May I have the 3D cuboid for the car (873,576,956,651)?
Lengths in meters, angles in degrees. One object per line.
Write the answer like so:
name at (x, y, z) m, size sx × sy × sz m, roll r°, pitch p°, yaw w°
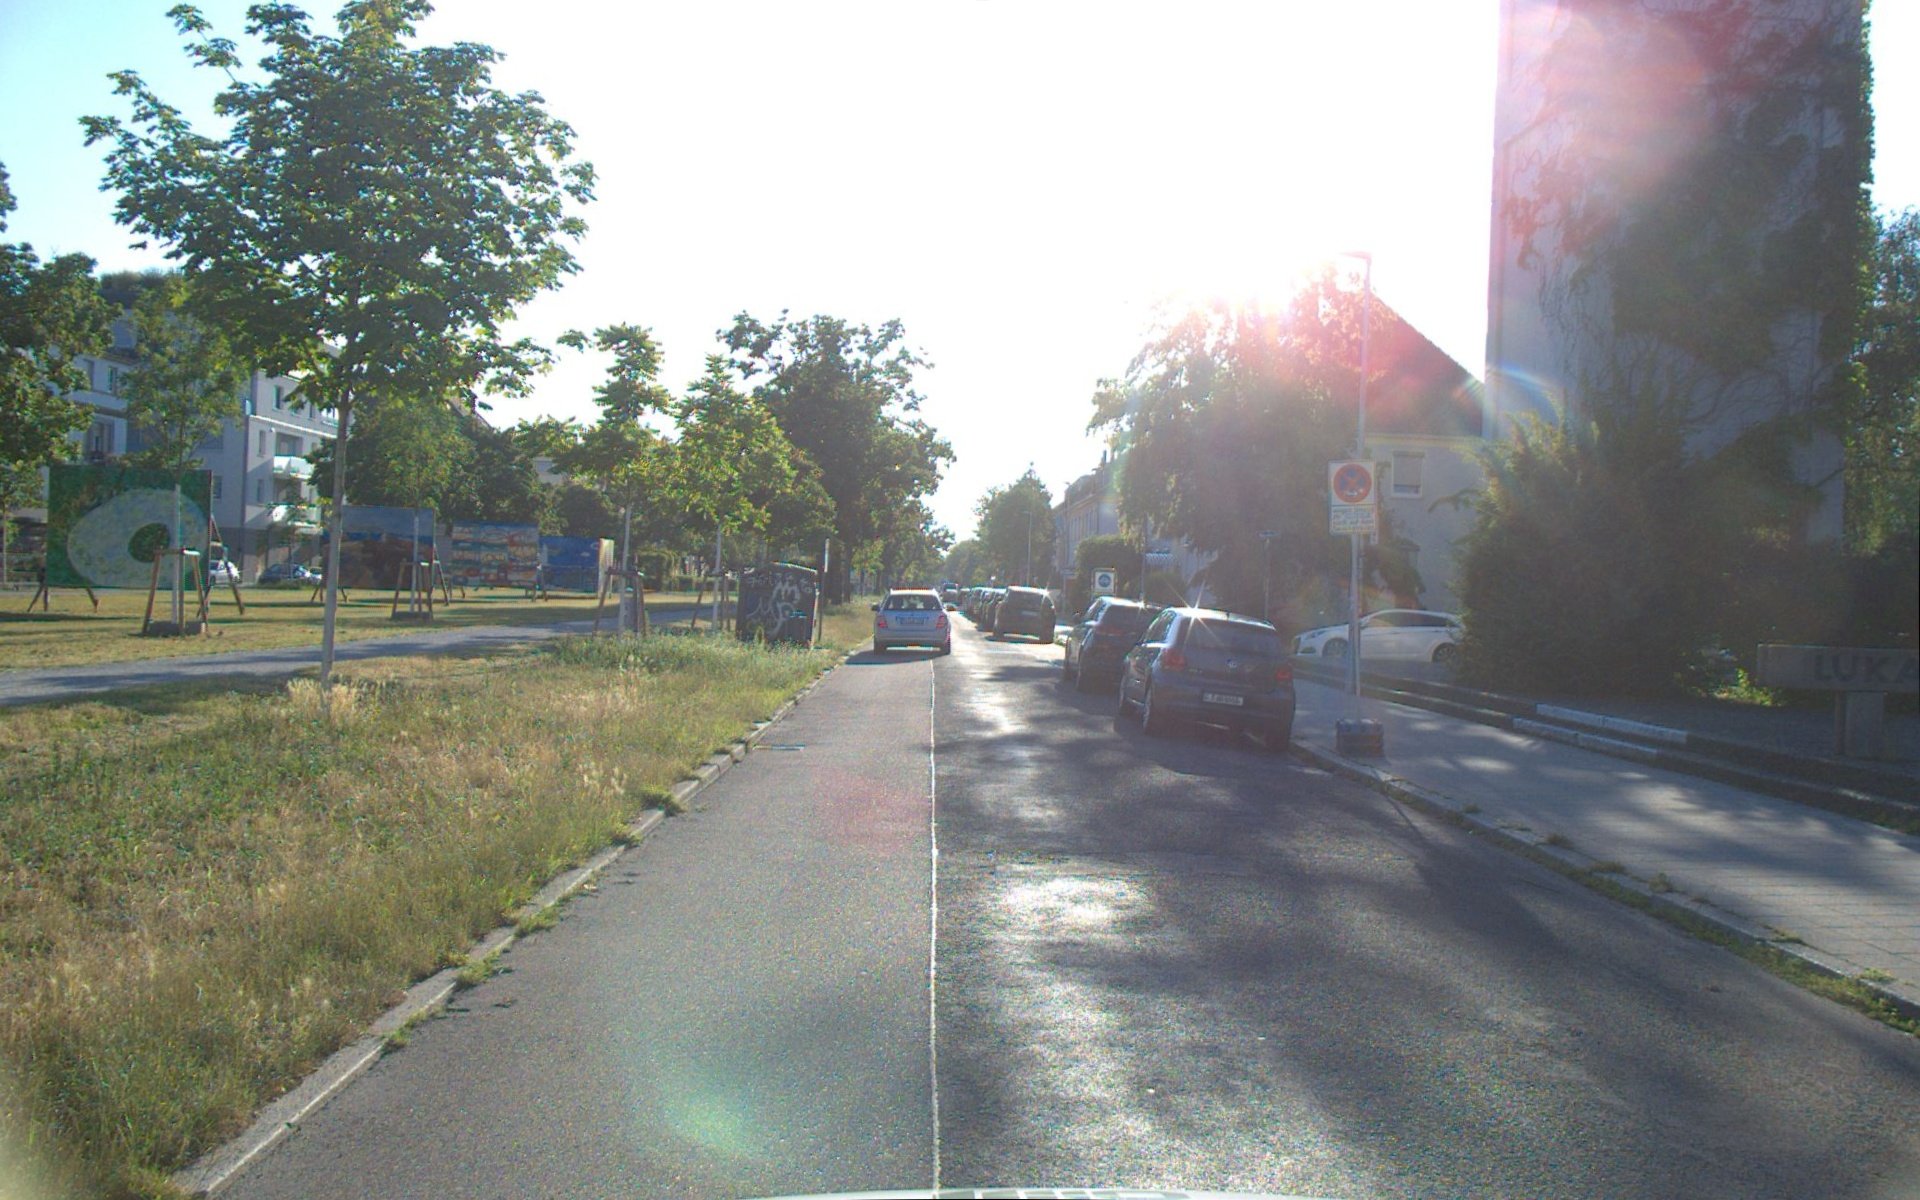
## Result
car at (-0.999, 0.274, 38.122) m, size 1.786 × 1.594 × 4.000 m, roll 1°, pitch 1°, yaw 0°

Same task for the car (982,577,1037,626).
car at (1.967, 0.035, 66.967) m, size 1.894 × 1.750 × 4.620 m, roll 5°, pitch 1°, yaw -1°

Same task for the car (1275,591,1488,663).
car at (10.469, 0.699, 41.311) m, size 4.749 × 1.512 × 2.001 m, roll 3°, pitch -3°, yaw -2°

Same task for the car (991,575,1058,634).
car at (2.108, 0.139, 55.240) m, size 1.796 × 1.761 × 5.030 m, roll 4°, pitch 0°, yaw -1°

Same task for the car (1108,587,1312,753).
car at (2.901, 0.745, 20.035) m, size 1.654 × 1.553 × 4.174 m, roll 6°, pitch 1°, yaw -1°

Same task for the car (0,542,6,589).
car at (-40.005, -1.403, 65.526) m, size 1.695 × 1.886 × 4.713 m, roll -2°, pitch 0°, yaw -1°

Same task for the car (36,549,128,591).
car at (-40.167, -1.346, 75.796) m, size 1.745 × 1.732 × 4.666 m, roll -2°, pitch 0°, yaw -1°

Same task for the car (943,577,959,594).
car at (-1.129, -1.866, 211.552) m, size 1.948 × 2.058 × 4.000 m, roll 2°, pitch 0°, yaw 0°

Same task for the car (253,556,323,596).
car at (-34.708, -1.233, 85.575) m, size 1.851 × 1.950 × 4.326 m, roll -2°, pitch 0°, yaw -1°

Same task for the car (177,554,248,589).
car at (-40.572, -1.529, 89.919) m, size 1.784 × 1.774 × 4.459 m, roll -2°, pitch 0°, yaw 0°

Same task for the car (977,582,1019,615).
car at (1.852, -0.083, 82.881) m, size 1.953 × 1.487 × 4.562 m, roll 3°, pitch 1°, yaw 0°

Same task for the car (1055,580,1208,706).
car at (2.664, 0.612, 26.740) m, size 1.787 × 1.587 × 4.621 m, roll 8°, pitch 1°, yaw 0°

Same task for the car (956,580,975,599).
car at (0.498, -0.962, 153.365) m, size 1.686 × 1.625 × 3.999 m, roll 1°, pitch 0°, yaw -1°
